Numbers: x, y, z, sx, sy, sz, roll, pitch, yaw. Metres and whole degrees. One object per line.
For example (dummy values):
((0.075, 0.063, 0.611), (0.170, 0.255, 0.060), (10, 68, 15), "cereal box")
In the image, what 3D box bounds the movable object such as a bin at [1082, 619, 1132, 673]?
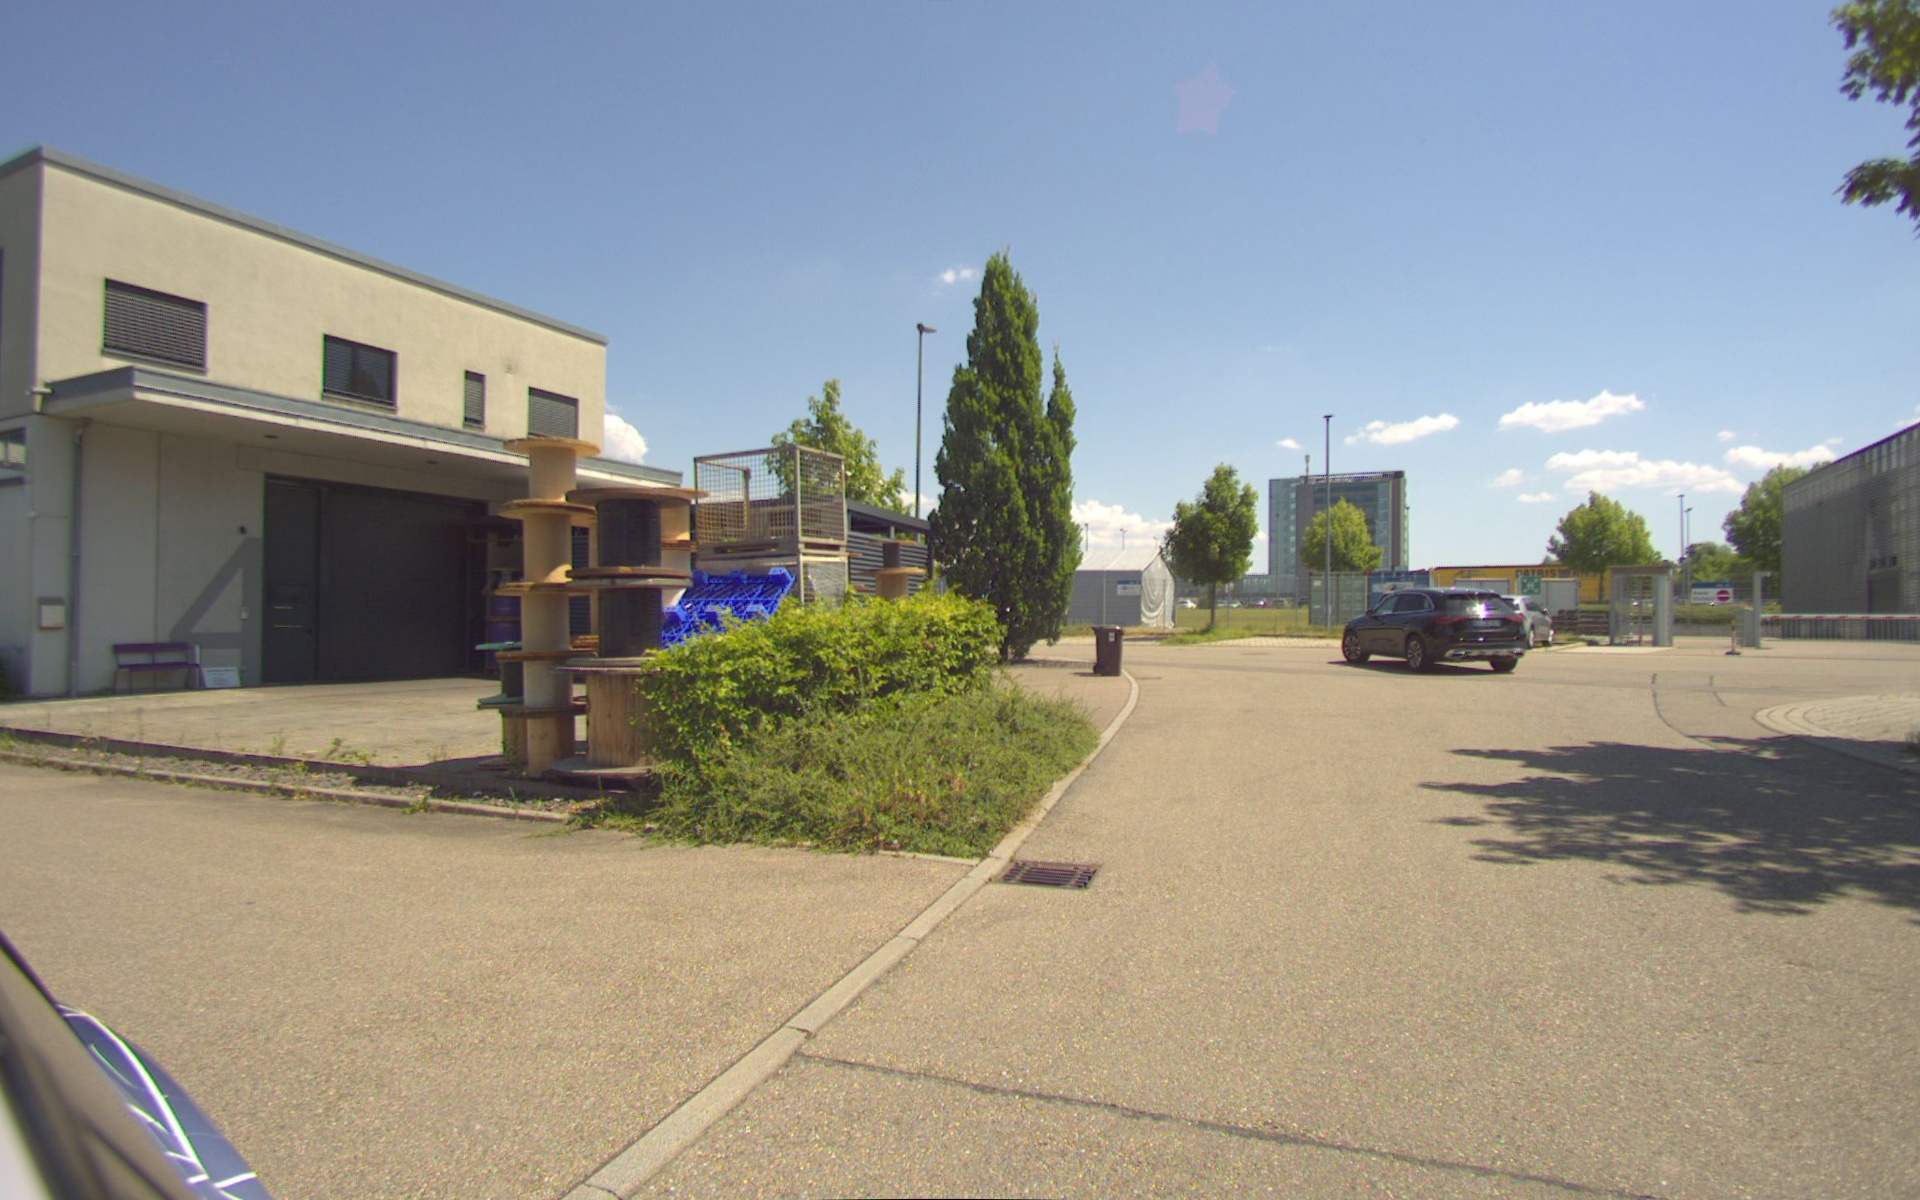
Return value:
((2.762, 0.859, 19.047), (0.757, 0.977, 0.584), (-1, 0, 32), "movable object such as a bin")

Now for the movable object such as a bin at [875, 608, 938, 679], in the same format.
((-1.044, 0.831, 19.911), (0.757, 1.346, 1.061), (-1, 0, 31), "movable object such as a bin")

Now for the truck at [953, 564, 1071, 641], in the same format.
((2.078, 0.086, 38.470), (2.406, 2.692, 5.646), (-1, 0, 27), "truck")

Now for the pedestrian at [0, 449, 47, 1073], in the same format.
((-3.405, 0.480, 3.088), (0.847, 1.834, 0.906), (-1, 0, -39), "pedestrian")

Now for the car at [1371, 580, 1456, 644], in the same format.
((13.483, 0.328, 29.963), (1.767, 1.751, 3.957), (-1, 0, 32), "car")

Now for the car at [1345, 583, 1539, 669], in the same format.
((9.550, 0.490, 20.501), (1.933, 1.525, 4.257), (-1, 0, 1), "car")
